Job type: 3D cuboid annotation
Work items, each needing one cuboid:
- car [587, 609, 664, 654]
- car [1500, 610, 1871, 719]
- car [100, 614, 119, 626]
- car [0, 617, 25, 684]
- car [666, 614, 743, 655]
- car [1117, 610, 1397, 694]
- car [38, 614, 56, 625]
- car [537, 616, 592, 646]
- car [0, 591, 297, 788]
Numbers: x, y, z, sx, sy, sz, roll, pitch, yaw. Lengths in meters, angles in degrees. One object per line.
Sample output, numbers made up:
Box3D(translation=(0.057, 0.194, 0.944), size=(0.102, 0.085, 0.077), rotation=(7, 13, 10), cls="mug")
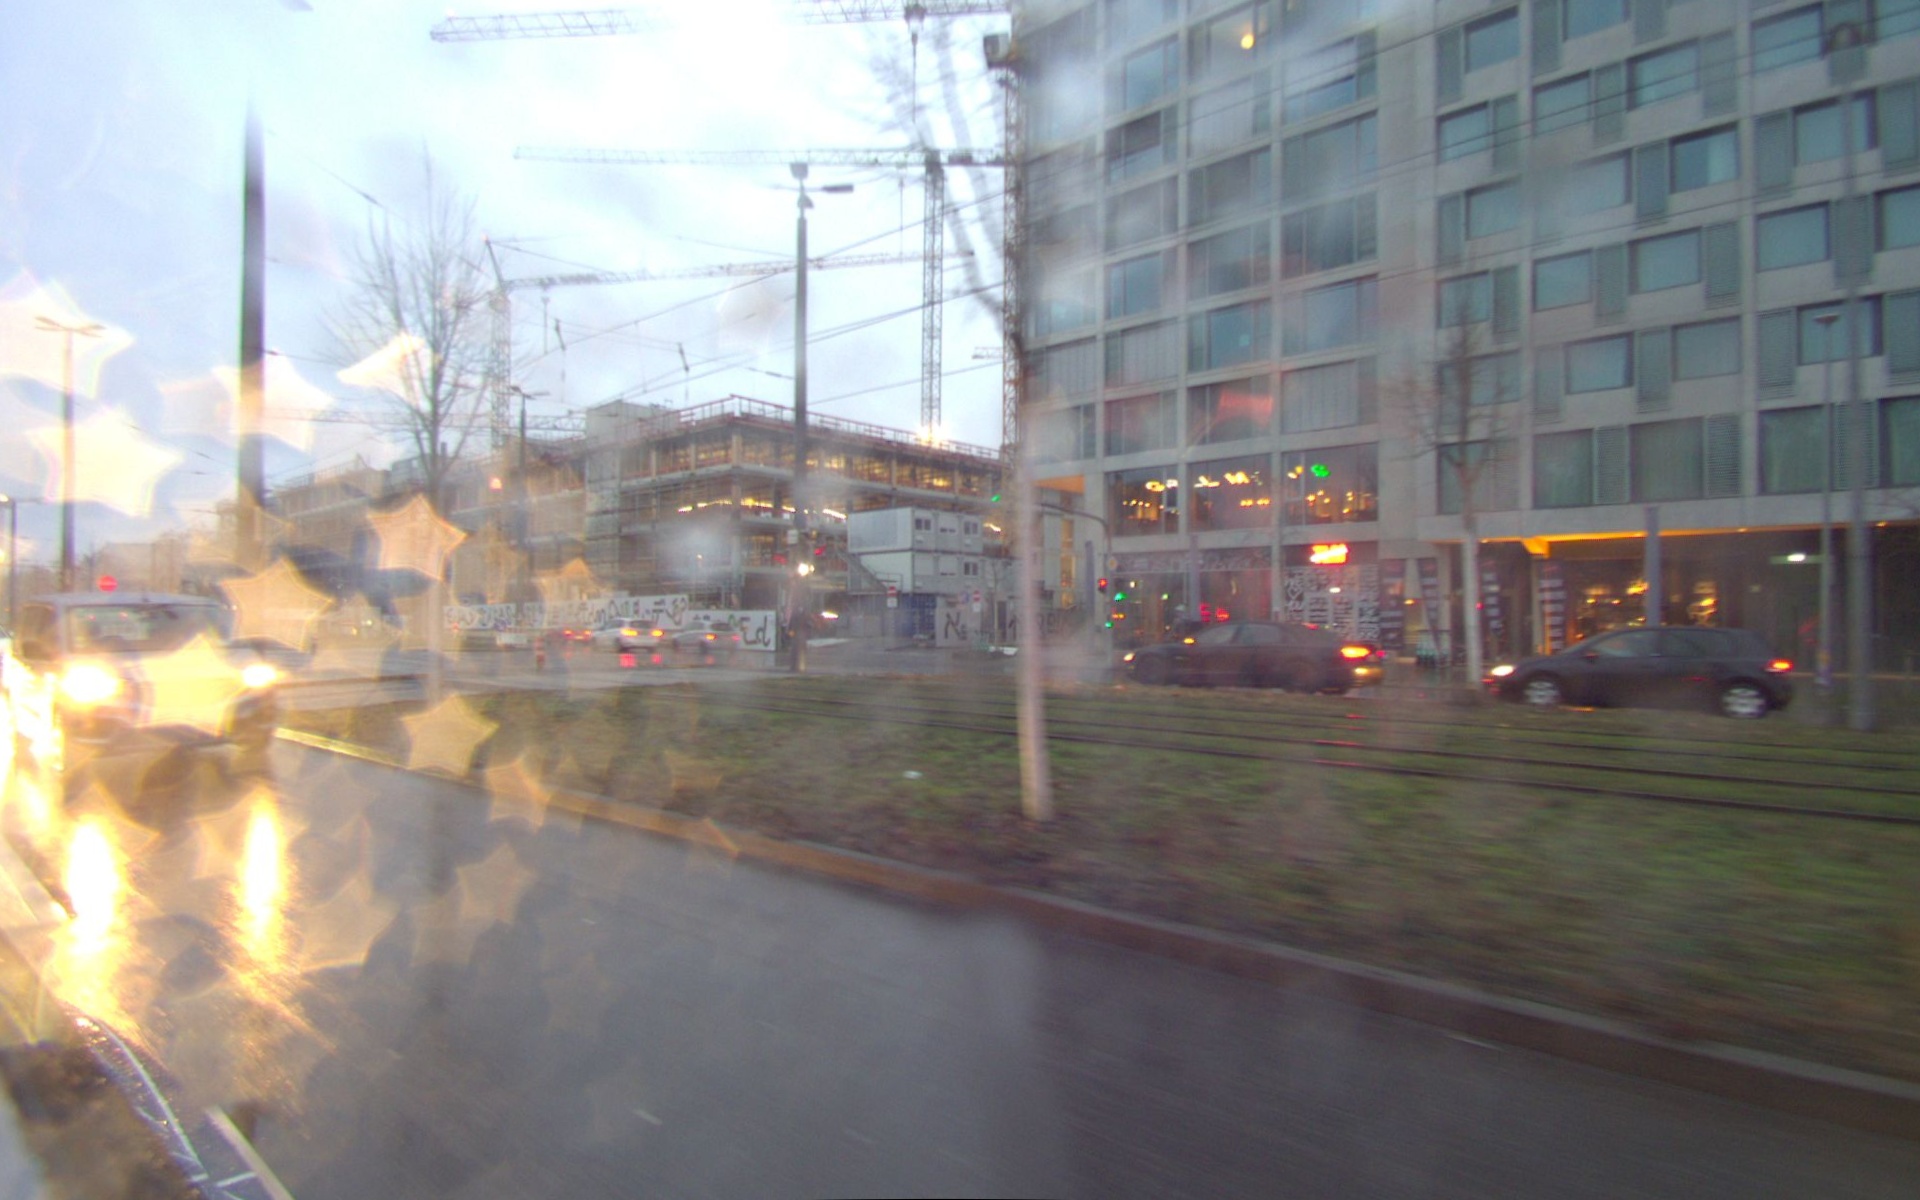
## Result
Box3D(translation=(-15.640, 1.451, 47.211), size=(1.969, 2.029, 4.005), rotation=(1, -2, -42), cls="car")
Box3D(translation=(11.092, 0.944, 15.959), size=(4.426, 1.508, 1.982), rotation=(-1, -1, 26), cls="car")
Box3D(translation=(-137.146, 3.211, 163.230), size=(4.002, 1.837, 1.971), rotation=(-1, -2, 45), cls="car")
Box3D(translation=(-22.507, 1.102, 22.549), size=(4.609, 1.416, 1.828), rotation=(-1, 0, 39), cls="car")
Box3D(translation=(-12.294, 1.635, 48.524), size=(1.969, 1.863, 4.005), rotation=(1, -2, -42), cls="car")
Box3D(translation=(5.790, 0.973, 20.203), size=(5.033, 1.479, 1.972), rotation=(-1, -2, 42), cls="car")
Box3D(translation=(-160.635, 3.421, 178.101), size=(3.999, 2.029, 1.972), rotation=(-1, -2, 42), cls="car")
Box3D(translation=(-24.545, 1.911, 62.761), size=(1.884, 1.756, 4.005), rotation=(1, -2, -42), cls="car")
Box3D(translation=(-9.141, 0.813, 11.148), size=(4.532, 1.749, 1.776), rotation=(-1, 0, 39), cls="car")
